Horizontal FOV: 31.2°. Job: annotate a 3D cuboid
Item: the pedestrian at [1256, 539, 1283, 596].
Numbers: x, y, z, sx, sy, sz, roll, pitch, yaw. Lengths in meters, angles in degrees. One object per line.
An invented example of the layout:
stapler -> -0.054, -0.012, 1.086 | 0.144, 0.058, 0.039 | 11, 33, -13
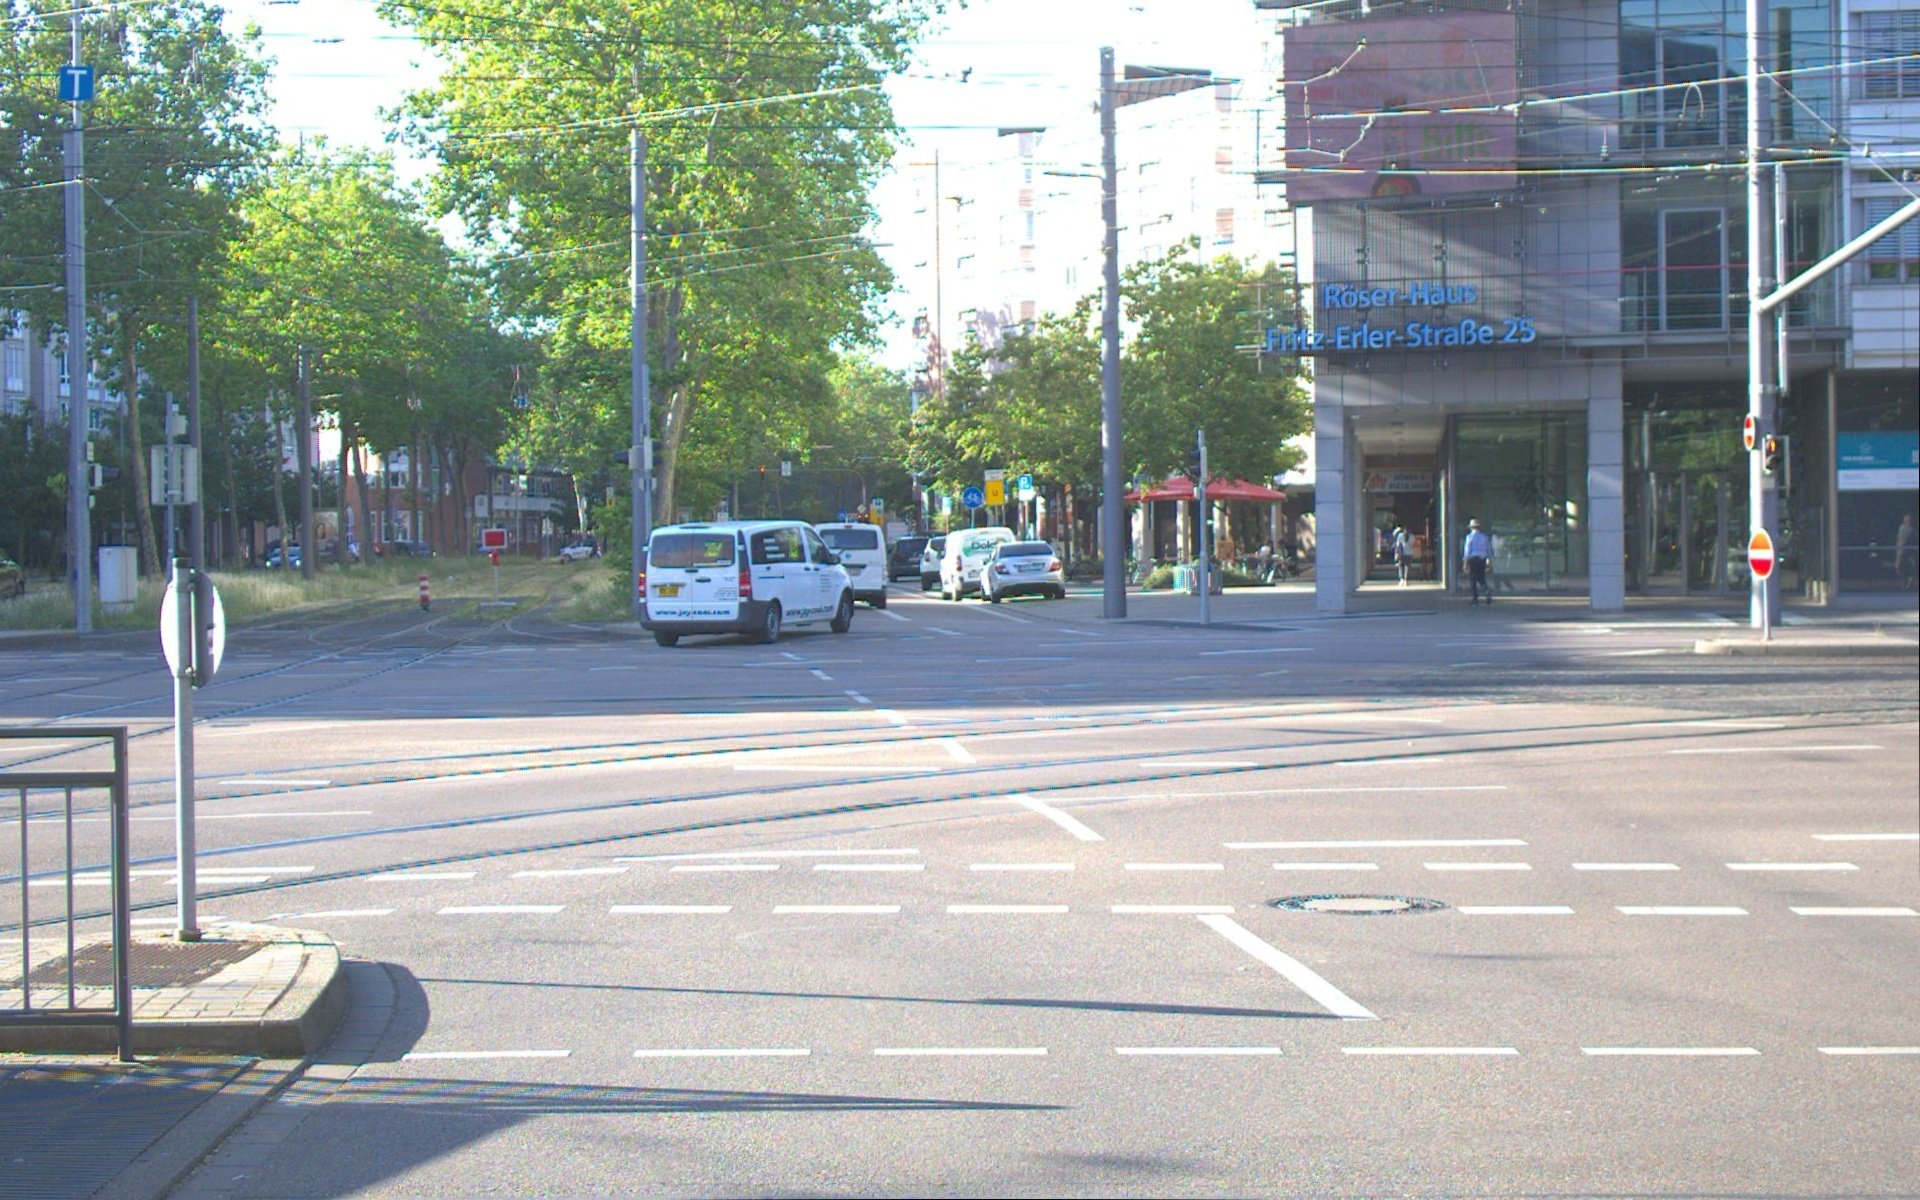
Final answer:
pedestrian -> 9.462, -0.996, 105.017 | 0.744, 1.708, 0.612 | -1, 1, -1

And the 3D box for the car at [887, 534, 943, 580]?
car -> -1.644, -1.595, 126.662 | 1.993, 1.612, 4.000 | -1, 1, 0

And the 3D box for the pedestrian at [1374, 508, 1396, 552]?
pedestrian -> 16.534, -2.711, 133.754 | 0.744, 1.708, 0.612 | -1, 1, -1

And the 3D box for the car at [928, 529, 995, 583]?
car -> 0.035, -1.357, 105.212 | 1.993, 1.612, 4.000 | -1, 1, 0

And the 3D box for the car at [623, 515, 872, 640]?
car -> -3.233, -0.396, 53.626 | 1.963, 1.842, 5.325 | 0, 1, 19

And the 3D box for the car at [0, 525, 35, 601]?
car -> -21.665, -0.796, 74.919 | 1.993, 1.634, 4.000 | -1, 1, -1

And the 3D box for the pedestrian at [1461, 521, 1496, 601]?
pedestrian -> 9.900, -0.745, 65.674 | 0.612, 1.502, 0.579 | -1, 1, 6

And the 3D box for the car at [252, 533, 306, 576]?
car -> -32.730, -2.194, 165.286 | 1.993, 2.007, 4.001 | -1, 1, -3

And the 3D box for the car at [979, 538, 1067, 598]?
car -> 1.492, -0.784, 82.771 | 1.993, 1.371, 4.000 | -1, 1, -1

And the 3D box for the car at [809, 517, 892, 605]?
car -> -2.382, -0.870, 75.377 | 1.755, 1.860, 4.526 | -1, 1, -1

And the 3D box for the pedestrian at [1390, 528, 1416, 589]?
pedestrian -> 11.045, -1.041, 85.721 | 0.612, 1.502, 0.579 | -1, 1, 7

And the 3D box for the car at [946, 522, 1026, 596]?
car -> 0.648, -1.093, 89.566 | 1.993, 1.853, 4.000 | -1, 1, -1
